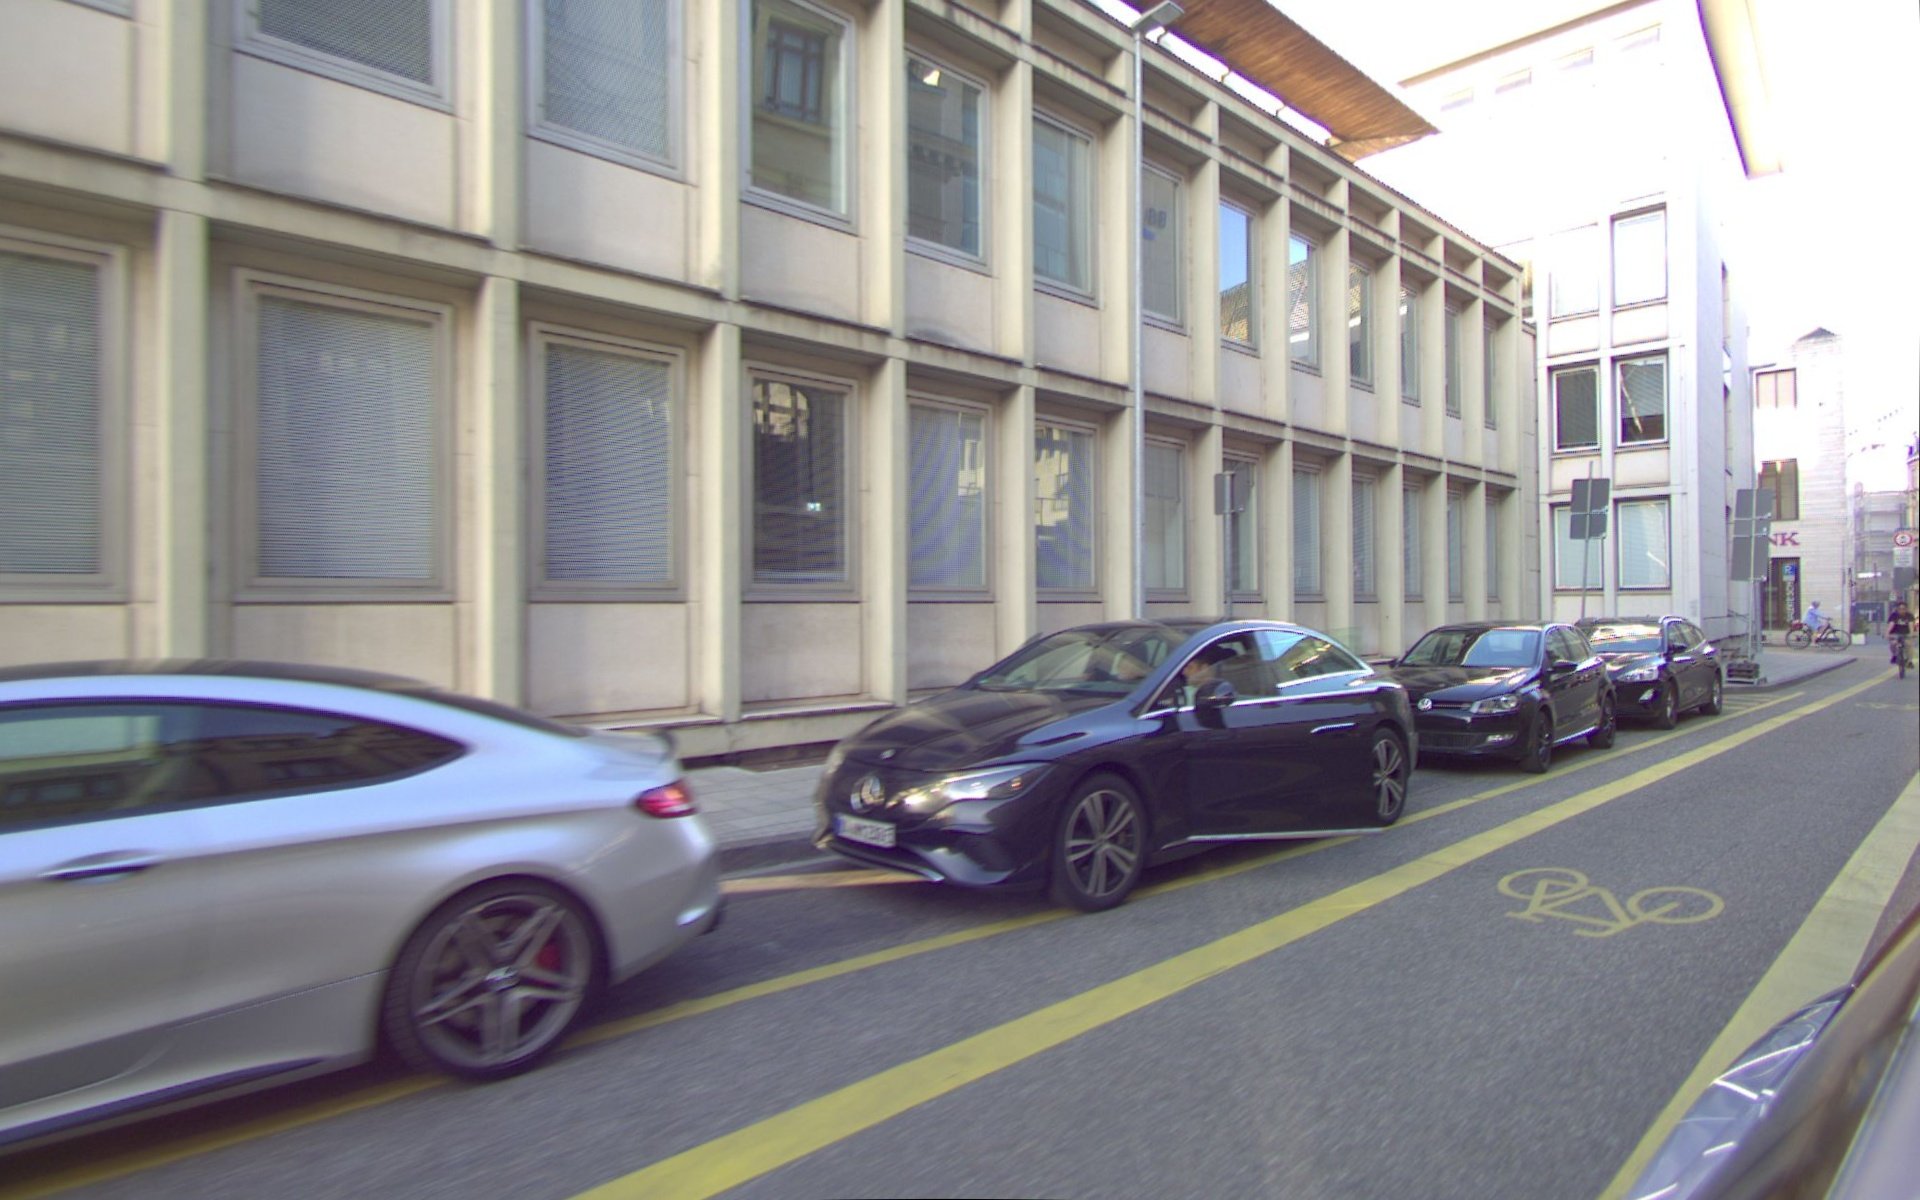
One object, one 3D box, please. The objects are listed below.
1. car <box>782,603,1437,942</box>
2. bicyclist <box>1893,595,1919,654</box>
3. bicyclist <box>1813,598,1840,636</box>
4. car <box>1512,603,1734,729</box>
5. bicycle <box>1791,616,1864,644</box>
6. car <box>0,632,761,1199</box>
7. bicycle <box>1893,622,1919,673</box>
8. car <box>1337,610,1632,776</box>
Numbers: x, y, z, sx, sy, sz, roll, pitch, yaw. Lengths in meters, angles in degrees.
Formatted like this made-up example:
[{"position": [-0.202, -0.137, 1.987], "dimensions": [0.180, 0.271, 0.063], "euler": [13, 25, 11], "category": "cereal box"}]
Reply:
[{"position": [1.293, 0.784, 6.728], "dimensions": [4.709, 1.489, 1.699], "euler": [0, -1, -42], "category": "car"}, {"position": [21.199, 0.547, 22.547], "dimensions": [0.542, 1.305, 0.537], "euler": [0, -2, -44], "category": "bicyclist"}, {"position": [30.366, 0.599, 35.468], "dimensions": [0.529, 1.305, 0.612], "euler": [0, -2, -42], "category": "bicyclist"}, {"position": [9.496, 0.820, 14.360], "dimensions": [4.183, 1.510, 1.695], "euler": [0, -1, -43], "category": "car"}, {"position": [30.376, 1.042, 35.446], "dimensions": [0.526, 0.921, 1.869], "euler": [0, -1, -41], "category": "bicycle"}, {"position": [-3.032, 0.836, 3.066], "dimensions": [4.515, 1.361, 1.700], "euler": [0, -1, -39], "category": "car"}, {"position": [21.082, 1.035, 22.411], "dimensions": [1.402, 1.080, 0.534], "euler": [0, -1, -44], "category": "bicycle"}, {"position": [5.666, 0.833, 10.728], "dimensions": [3.822, 1.417, 1.628], "euler": [0, -1, -44], "category": "car"}]
